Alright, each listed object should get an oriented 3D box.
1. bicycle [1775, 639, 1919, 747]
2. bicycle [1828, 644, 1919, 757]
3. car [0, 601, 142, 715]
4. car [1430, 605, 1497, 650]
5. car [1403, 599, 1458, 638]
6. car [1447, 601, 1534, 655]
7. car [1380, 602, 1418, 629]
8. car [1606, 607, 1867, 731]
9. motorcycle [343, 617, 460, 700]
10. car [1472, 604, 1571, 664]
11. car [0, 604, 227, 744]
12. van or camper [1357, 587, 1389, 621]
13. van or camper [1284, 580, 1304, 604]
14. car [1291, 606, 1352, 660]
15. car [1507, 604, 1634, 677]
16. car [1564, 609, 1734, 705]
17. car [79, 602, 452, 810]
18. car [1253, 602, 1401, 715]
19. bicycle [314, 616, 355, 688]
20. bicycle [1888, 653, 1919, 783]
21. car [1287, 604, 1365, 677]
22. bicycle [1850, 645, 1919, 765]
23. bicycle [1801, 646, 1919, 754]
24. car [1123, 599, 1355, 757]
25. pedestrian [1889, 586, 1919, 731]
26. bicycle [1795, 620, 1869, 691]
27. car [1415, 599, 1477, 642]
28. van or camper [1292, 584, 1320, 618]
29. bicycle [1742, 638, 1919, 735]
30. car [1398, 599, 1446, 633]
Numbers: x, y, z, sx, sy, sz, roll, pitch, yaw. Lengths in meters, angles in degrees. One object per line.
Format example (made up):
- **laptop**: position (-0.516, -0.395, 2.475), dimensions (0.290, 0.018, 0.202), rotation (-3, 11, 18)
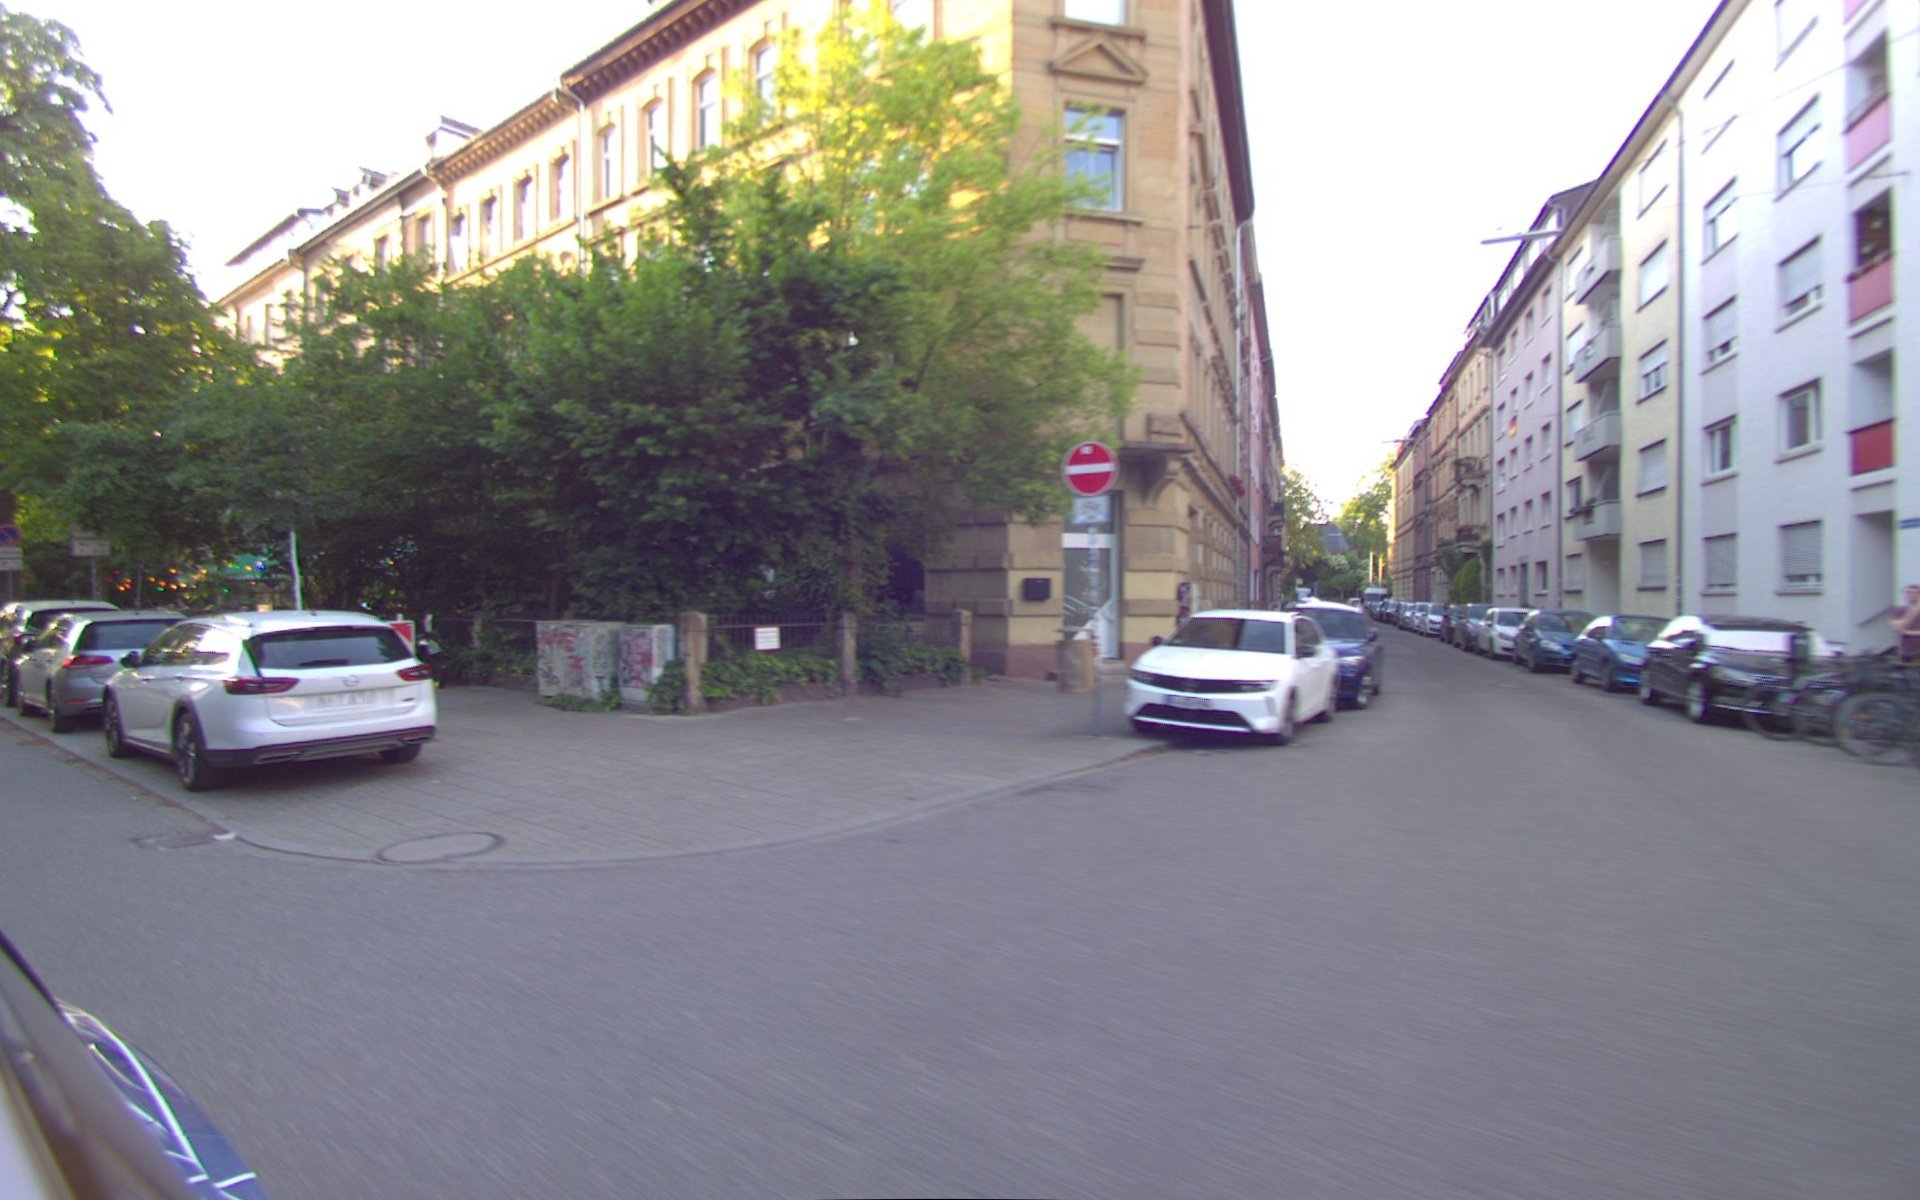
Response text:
- **bicycle**: position (10.388, 1.036, 11.425), dimensions (1.836, 1.174, 0.365), rotation (0, 0, 17)
- **bicycle**: position (9.908, 1.008, 10.140), dimensions (1.836, 1.113, 0.365), rotation (0, 0, 17)
- **car**: position (-15.183, 0.870, 16.736), dimensions (4.398, 1.575, 1.673), rotation (-1, 2, 39)
- **car**: position (18.885, 0.978, 38.129), dimensions (1.817, 1.599, 3.973), rotation (0, 0, 20)
- **car**: position (22.463, 0.870, 48.479), dimensions (1.985, 1.785, 3.974), rotation (0, 0, 19)
- **car**: position (17.242, 0.862, 33.082), dimensions (1.985, 1.652, 3.973), rotation (0, 0, 20)
- **car**: position (27.559, 0.956, 63.671), dimensions (1.986, 1.658, 3.972), rotation (0, 0, 21)
- **car**: position (11.197, 0.898, 14.937), dimensions (1.784, 1.484, 3.693), rotation (2, 1, 16)
- **motorcycle**: position (-8.722, 0.864, 15.727), dimensions (2.889, 1.165, 0.576), rotation (0, 0, 40)
- **car**: position (15.851, 0.917, 28.780), dimensions (1.832, 1.563, 4.080), rotation (0, 0, 20)
- **car**: position (-11.642, 0.858, 13.710), dimensions (4.398, 1.513, 1.673), rotation (0, 3, 39)
- **van or camper**: position (34.634, 0.357, 85.005), dimensions (2.068, 2.747, 5.345), rotation (2, 0, 19)
- **van or camper**: position (39.567, -0.895, 119.777), dimensions (2.068, 2.704, 5.345), rotation (2, 0, 19)
- **car**: position (11.606, 1.014, 32.455), dimensions (1.696, 1.563, 3.849), rotation (2, 0, 20)
- **car**: position (14.427, 0.899, 24.142), dimensions (1.828, 1.567, 3.973), rotation (0, 0, 20)
- **car**: position (12.680, 0.969, 18.889), dimensions (1.678, 1.464, 3.694), rotation (4, 1, 20)
- **car**: position (-6.930, 0.840, 9.874), dimensions (4.732, 1.513, 1.673), rotation (-1, 2, 39)
- **car**: position (6.137, 0.855, 16.625), dimensions (1.701, 1.563, 4.067), rotation (2, 0, 28)
- **bicycle**: position (-12.103, 0.962, 19.619), dimensions (0.597, 1.294, 2.493), rotation (1, -1, -30)
- **bicycle**: position (9.357, 1.040, 8.867), dimensions (1.834, 1.125, 0.365), rotation (0, 0, 14)
- **car**: position (9.390, 0.962, 25.937), dimensions (1.697, 1.659, 3.848), rotation (2, 0, 21)
- **bicycle**: position (9.763, 1.012, 9.686), dimensions (1.837, 1.125, 0.399), rotation (0, 0, 19)
- **bicycle**: position (10.214, 1.069, 10.837), dimensions (1.836, 1.113, 0.365), rotation (0, 0, 17)
- **car**: position (3.597, 0.821, 12.431), dimensions (1.702, 1.564, 4.421), rotation (-2, -2, 30)
- **pedestrian**: position (12.160, 0.713, 12.590), dimensions (0.618, 1.778, 0.499), rotation (-4, -1, 18)
- **bicycle**: position (16.136, 0.993, 18.762), dimensions (0.394, 1.216, 1.865), rotation (0, 0, 20)
- **car**: position (21.123, 0.858, 44.124), dimensions (1.985, 1.785, 3.973), rotation (0, 0, 20)
- **van or camper**: position (28.735, 0.094, 84.069), dimensions (2.068, 2.747, 5.345), rotation (2, 0, 19)
- **bicycle**: position (10.625, 1.029, 12.234), dimensions (1.836, 1.113, 0.365), rotation (0, 0, 17)
- **car**: position (24.009, 0.812, 52.720), dimensions (1.986, 1.691, 3.972), rotation (0, 0, 21)
